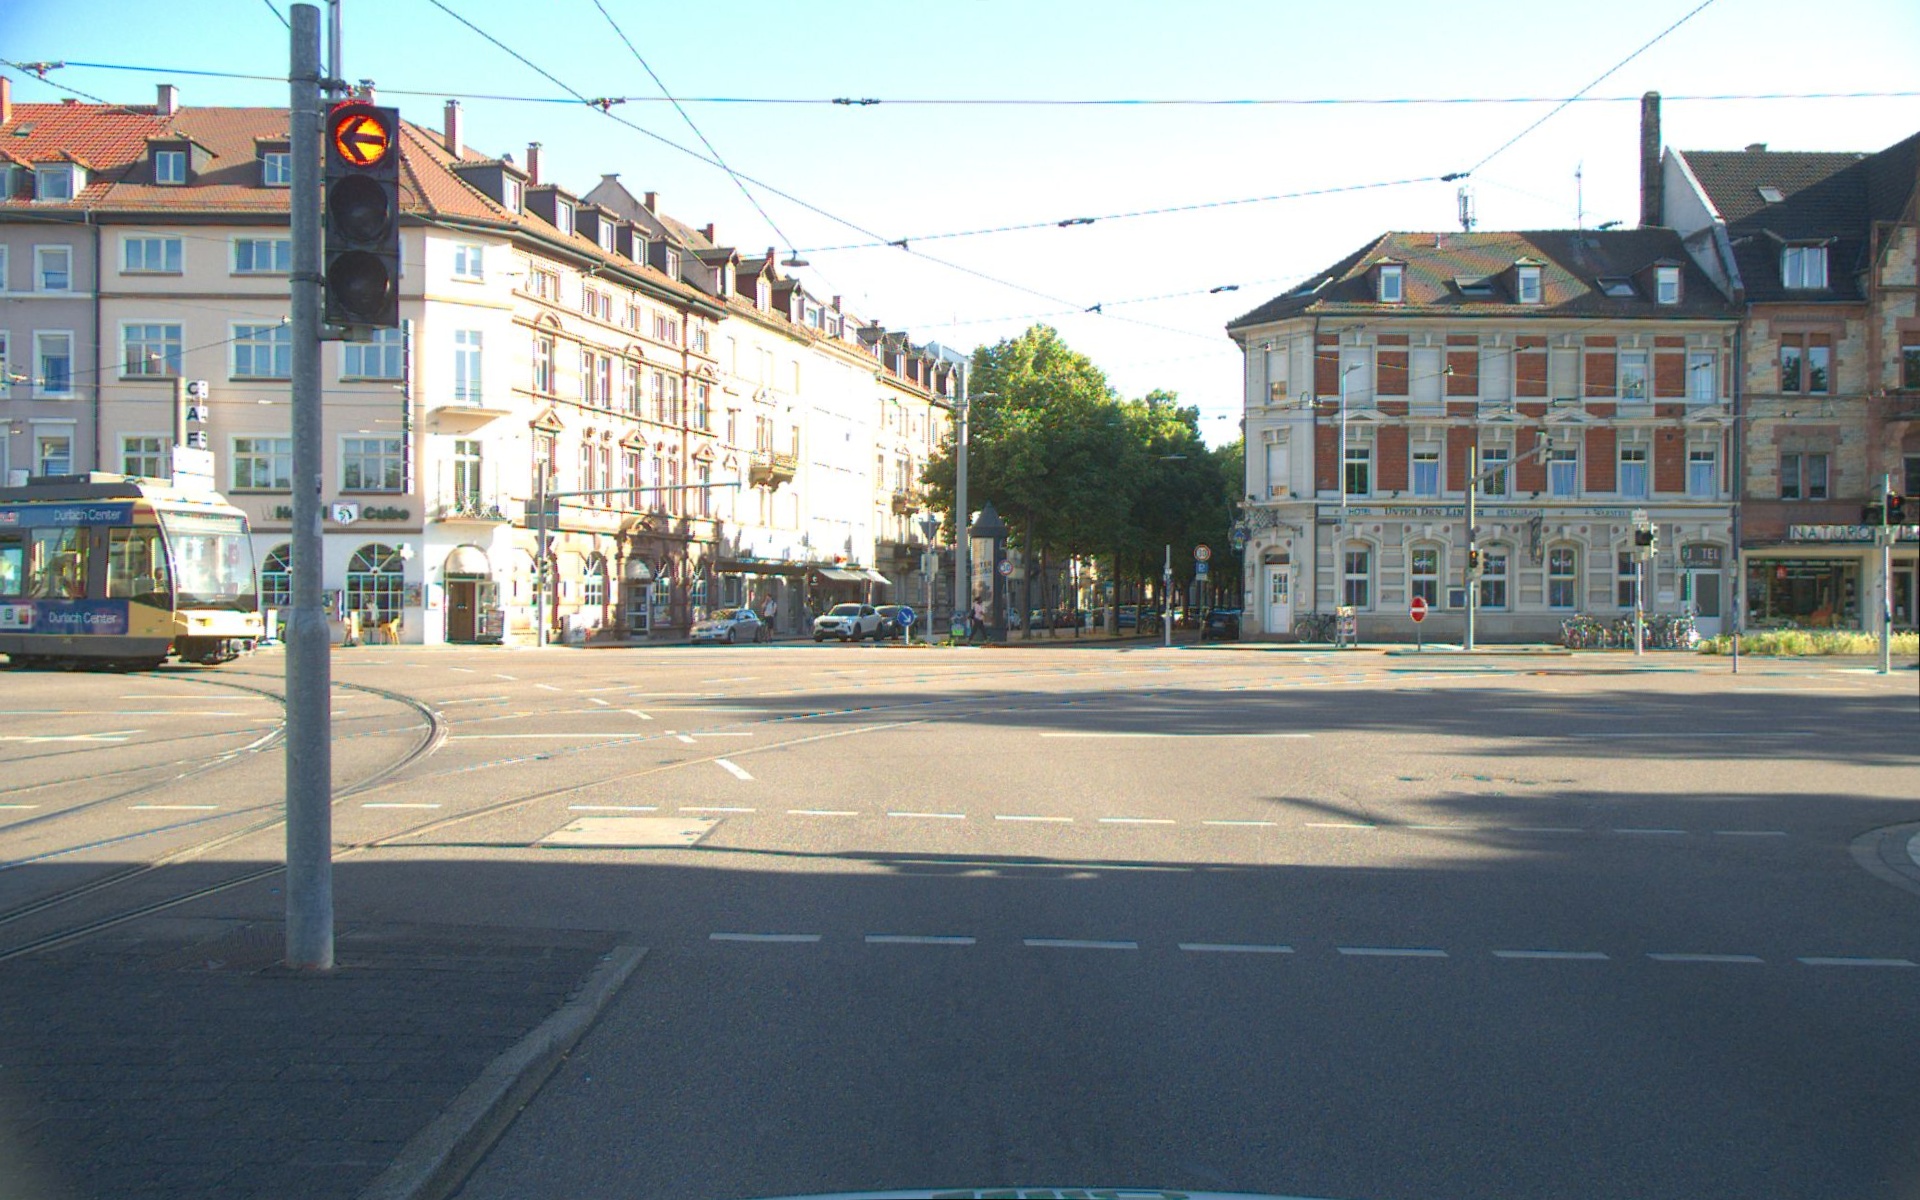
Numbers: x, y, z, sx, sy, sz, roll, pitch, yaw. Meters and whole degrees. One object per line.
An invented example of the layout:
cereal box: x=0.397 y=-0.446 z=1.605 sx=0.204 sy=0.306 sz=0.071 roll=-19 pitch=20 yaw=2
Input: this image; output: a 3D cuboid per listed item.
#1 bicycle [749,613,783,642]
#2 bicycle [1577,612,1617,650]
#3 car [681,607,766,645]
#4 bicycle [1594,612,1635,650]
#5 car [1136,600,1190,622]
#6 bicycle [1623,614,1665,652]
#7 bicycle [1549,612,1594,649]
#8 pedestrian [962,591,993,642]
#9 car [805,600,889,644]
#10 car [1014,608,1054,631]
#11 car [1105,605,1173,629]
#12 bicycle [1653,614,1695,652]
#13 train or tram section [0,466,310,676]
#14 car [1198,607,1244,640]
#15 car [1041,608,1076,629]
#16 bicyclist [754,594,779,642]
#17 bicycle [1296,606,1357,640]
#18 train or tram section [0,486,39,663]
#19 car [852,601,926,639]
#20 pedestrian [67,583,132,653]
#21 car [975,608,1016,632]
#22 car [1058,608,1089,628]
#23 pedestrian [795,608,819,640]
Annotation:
bicycle: x=-7.596 y=1.077 z=64.881 sx=0.665 sy=1.085 sz=2.127 roll=0 pitch=0 yaw=12
bicycle: x=20.593 y=0.991 z=53.529 sx=0.605 sy=1.163 sz=2.175 roll=0 pitch=0 yaw=4
car: x=-9.525 y=1.031 z=66.891 sx=1.858 sy=1.481 sz=4.002 roll=0 pitch=0 yaw=17
bicycle: x=21.164 y=0.986 z=53.499 sx=0.605 sy=1.163 sz=2.175 roll=0 pitch=0 yaw=4
car: x=16.424 y=0.873 z=133.862 sx=3.912 sy=1.736 sz=1.996 roll=0 pitch=0 yaw=30
bicycle: x=22.072 y=1.048 z=53.439 sx=0.605 sy=1.163 sz=2.175 roll=0 pitch=0 yaw=4
bicycle: x=19.821 y=0.981 z=53.647 sx=0.789 sy=1.163 sz=2.175 roll=0 pitch=0 yaw=4
pedestrian: x=0.625 y=0.585 z=58.562 sx=1.024 sy=1.774 sz=0.809 roll=0 pitch=0 yaw=5
car: x=-4.542 y=0.879 z=67.245 sx=1.951 sy=1.713 sz=4.393 roll=0 pitch=0 yaw=17
car: x=5.532 y=1.416 z=122.729 sx=1.951 sy=1.640 sz=4.393 roll=0 pitch=0 yaw=17
car: x=12.526 y=1.188 z=115.620 sx=4.290 sy=1.640 sz=1.998 roll=0 pitch=0 yaw=26
bicycle: x=23.036 y=1.051 z=53.387 sx=0.596 sy=1.156 sz=2.136 roll=0 pitch=0 yaw=4
train or tram section: x=-16.147 y=-0.512 z=31.122 sx=7.780 sy=3.561 sz=2.821 roll=0 pitch=0 yaw=26
car: x=13.072 y=1.152 z=82.624 sx=1.951 sy=1.613 sz=4.003 roll=0 pitch=0 yaw=13
car: x=7.785 y=1.412 z=130.553 sx=1.798 sy=1.579 sz=4.393 roll=0 pitch=0 yaw=16
bicyclist: x=-7.585 y=0.690 z=64.923 sx=0.664 sy=1.852 sz=1.071 roll=0 pitch=0 yaw=12
bicycle: x=12.751 y=0.812 z=57.573 sx=2.045 sy=1.144 sz=0.366 roll=1 pitch=-1 yaw=-5
train or tram section: x=-23.334 y=-0.524 z=34.278 sx=8.261 sy=3.561 sz=2.824 roll=0 pitch=0 yaw=22
car: x=-3.147 y=0.857 z=73.779 sx=1.951 sy=1.640 sz=4.393 roll=0 pitch=0 yaw=17
pedestrian: x=-21.569 y=0.448 z=41.486 sx=1.058 sy=1.714 sz=1.103 roll=0 pitch=0 yaw=-1
car: x=2.416 y=1.317 z=110.981 sx=1.951 sy=1.512 sz=4.003 roll=0 pitch=0 yaw=13
car: x=9.398 y=1.451 z=136.454 sx=1.727 sy=1.576 sz=4.394 roll=0 pitch=0 yaw=16
pedestrian: x=-7.798 y=1.213 z=84.199 sx=0.908 sy=1.562 sz=1.138 roll=0 pitch=0 yaw=13
